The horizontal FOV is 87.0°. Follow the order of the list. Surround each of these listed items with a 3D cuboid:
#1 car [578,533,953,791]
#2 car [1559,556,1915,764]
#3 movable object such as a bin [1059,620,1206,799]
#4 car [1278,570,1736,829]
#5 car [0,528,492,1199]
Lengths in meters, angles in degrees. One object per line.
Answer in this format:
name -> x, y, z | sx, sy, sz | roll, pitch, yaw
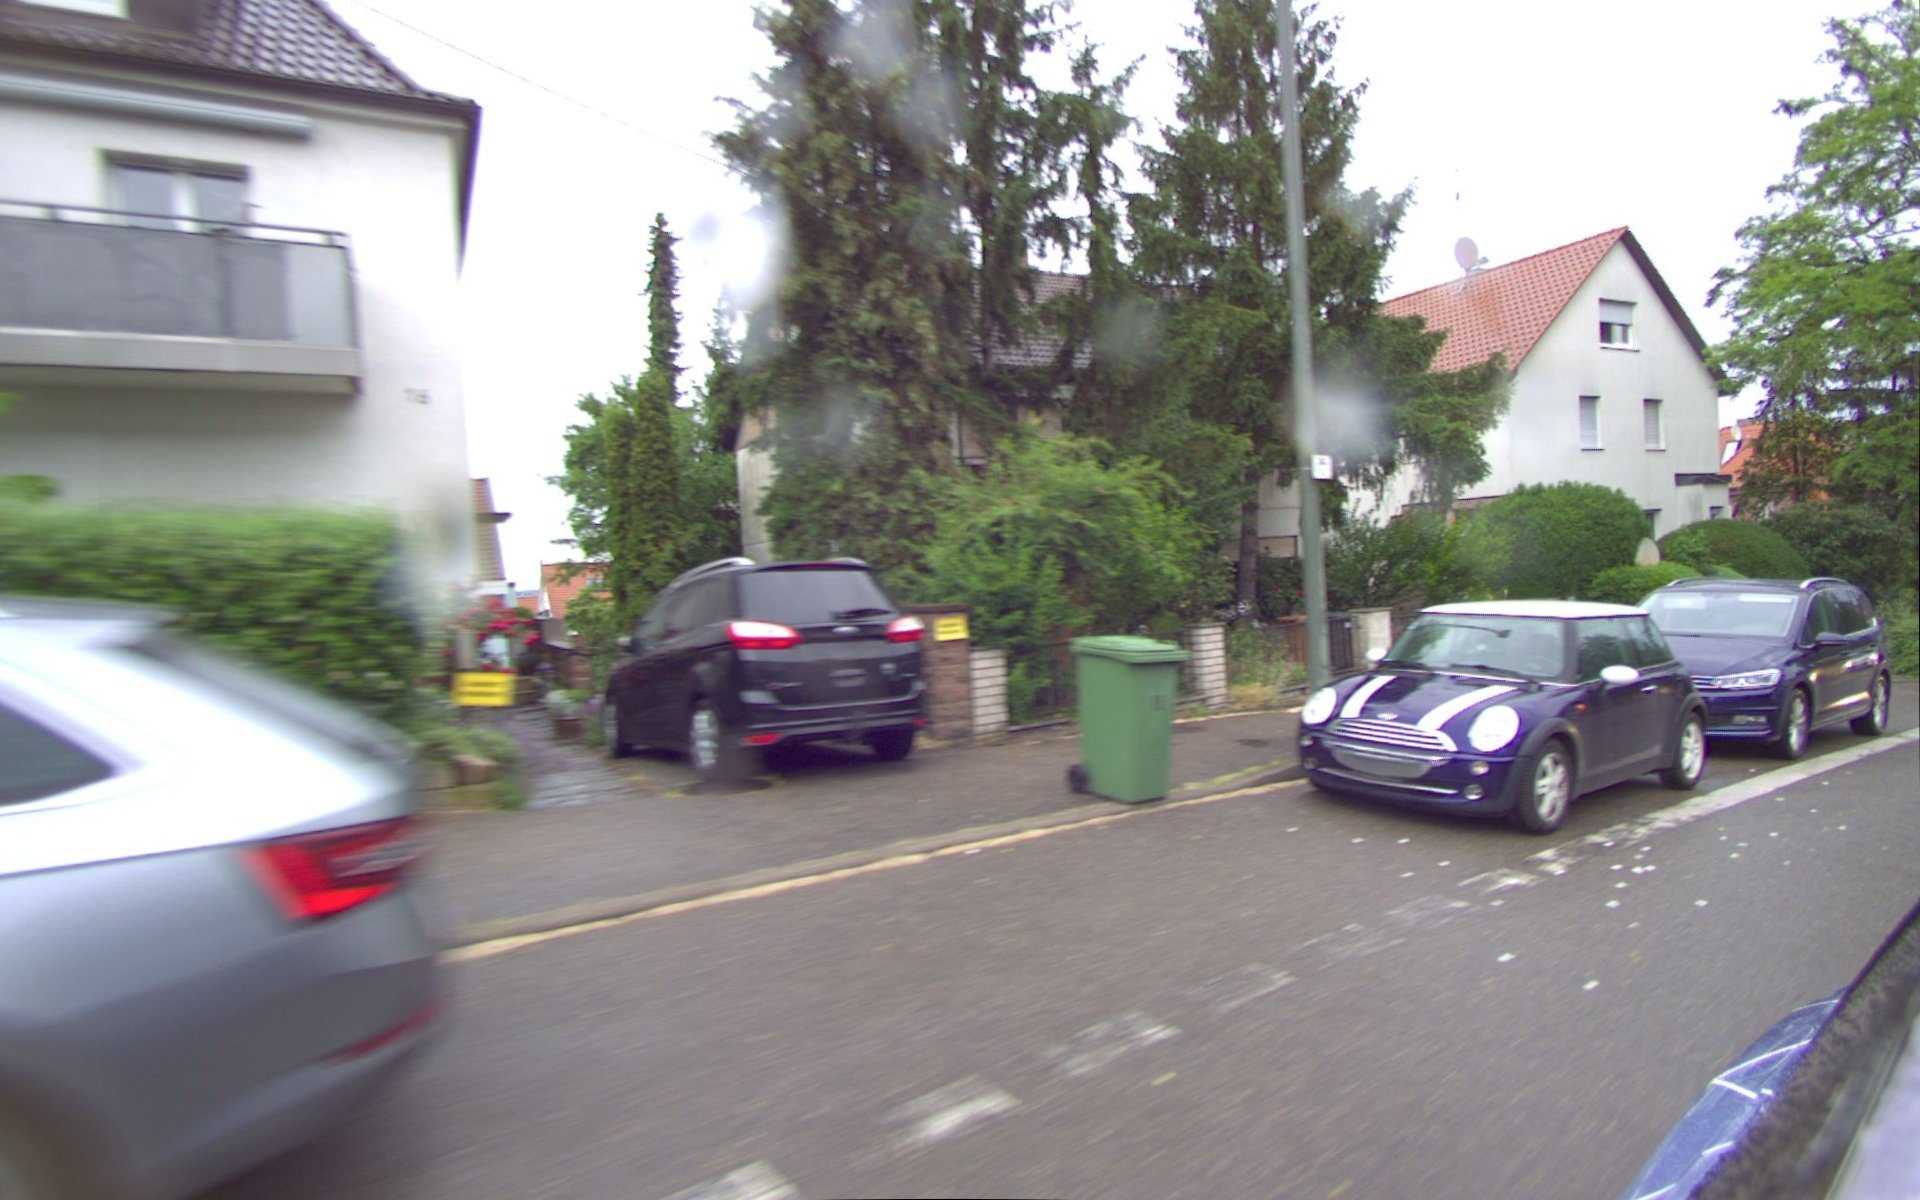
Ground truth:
car -> -1.924, 0.523, 8.858 | 1.743, 1.710, 4.015 | 0, -3, -34
car -> 8.111, 0.464, 10.426 | 4.378, 1.722, 1.834 | -1, 1, -37
movable object such as a bin -> 1.175, 0.703, 6.913 | 0.688, 1.111, 0.704 | 0, -1, -38
car -> 4.158, 0.541, 7.513 | 3.632, 1.475, 1.638 | -1, 1, -37
car -> -3.337, 0.610, 1.374 | 4.622, 1.442, 1.750 | -1, 1, -41
